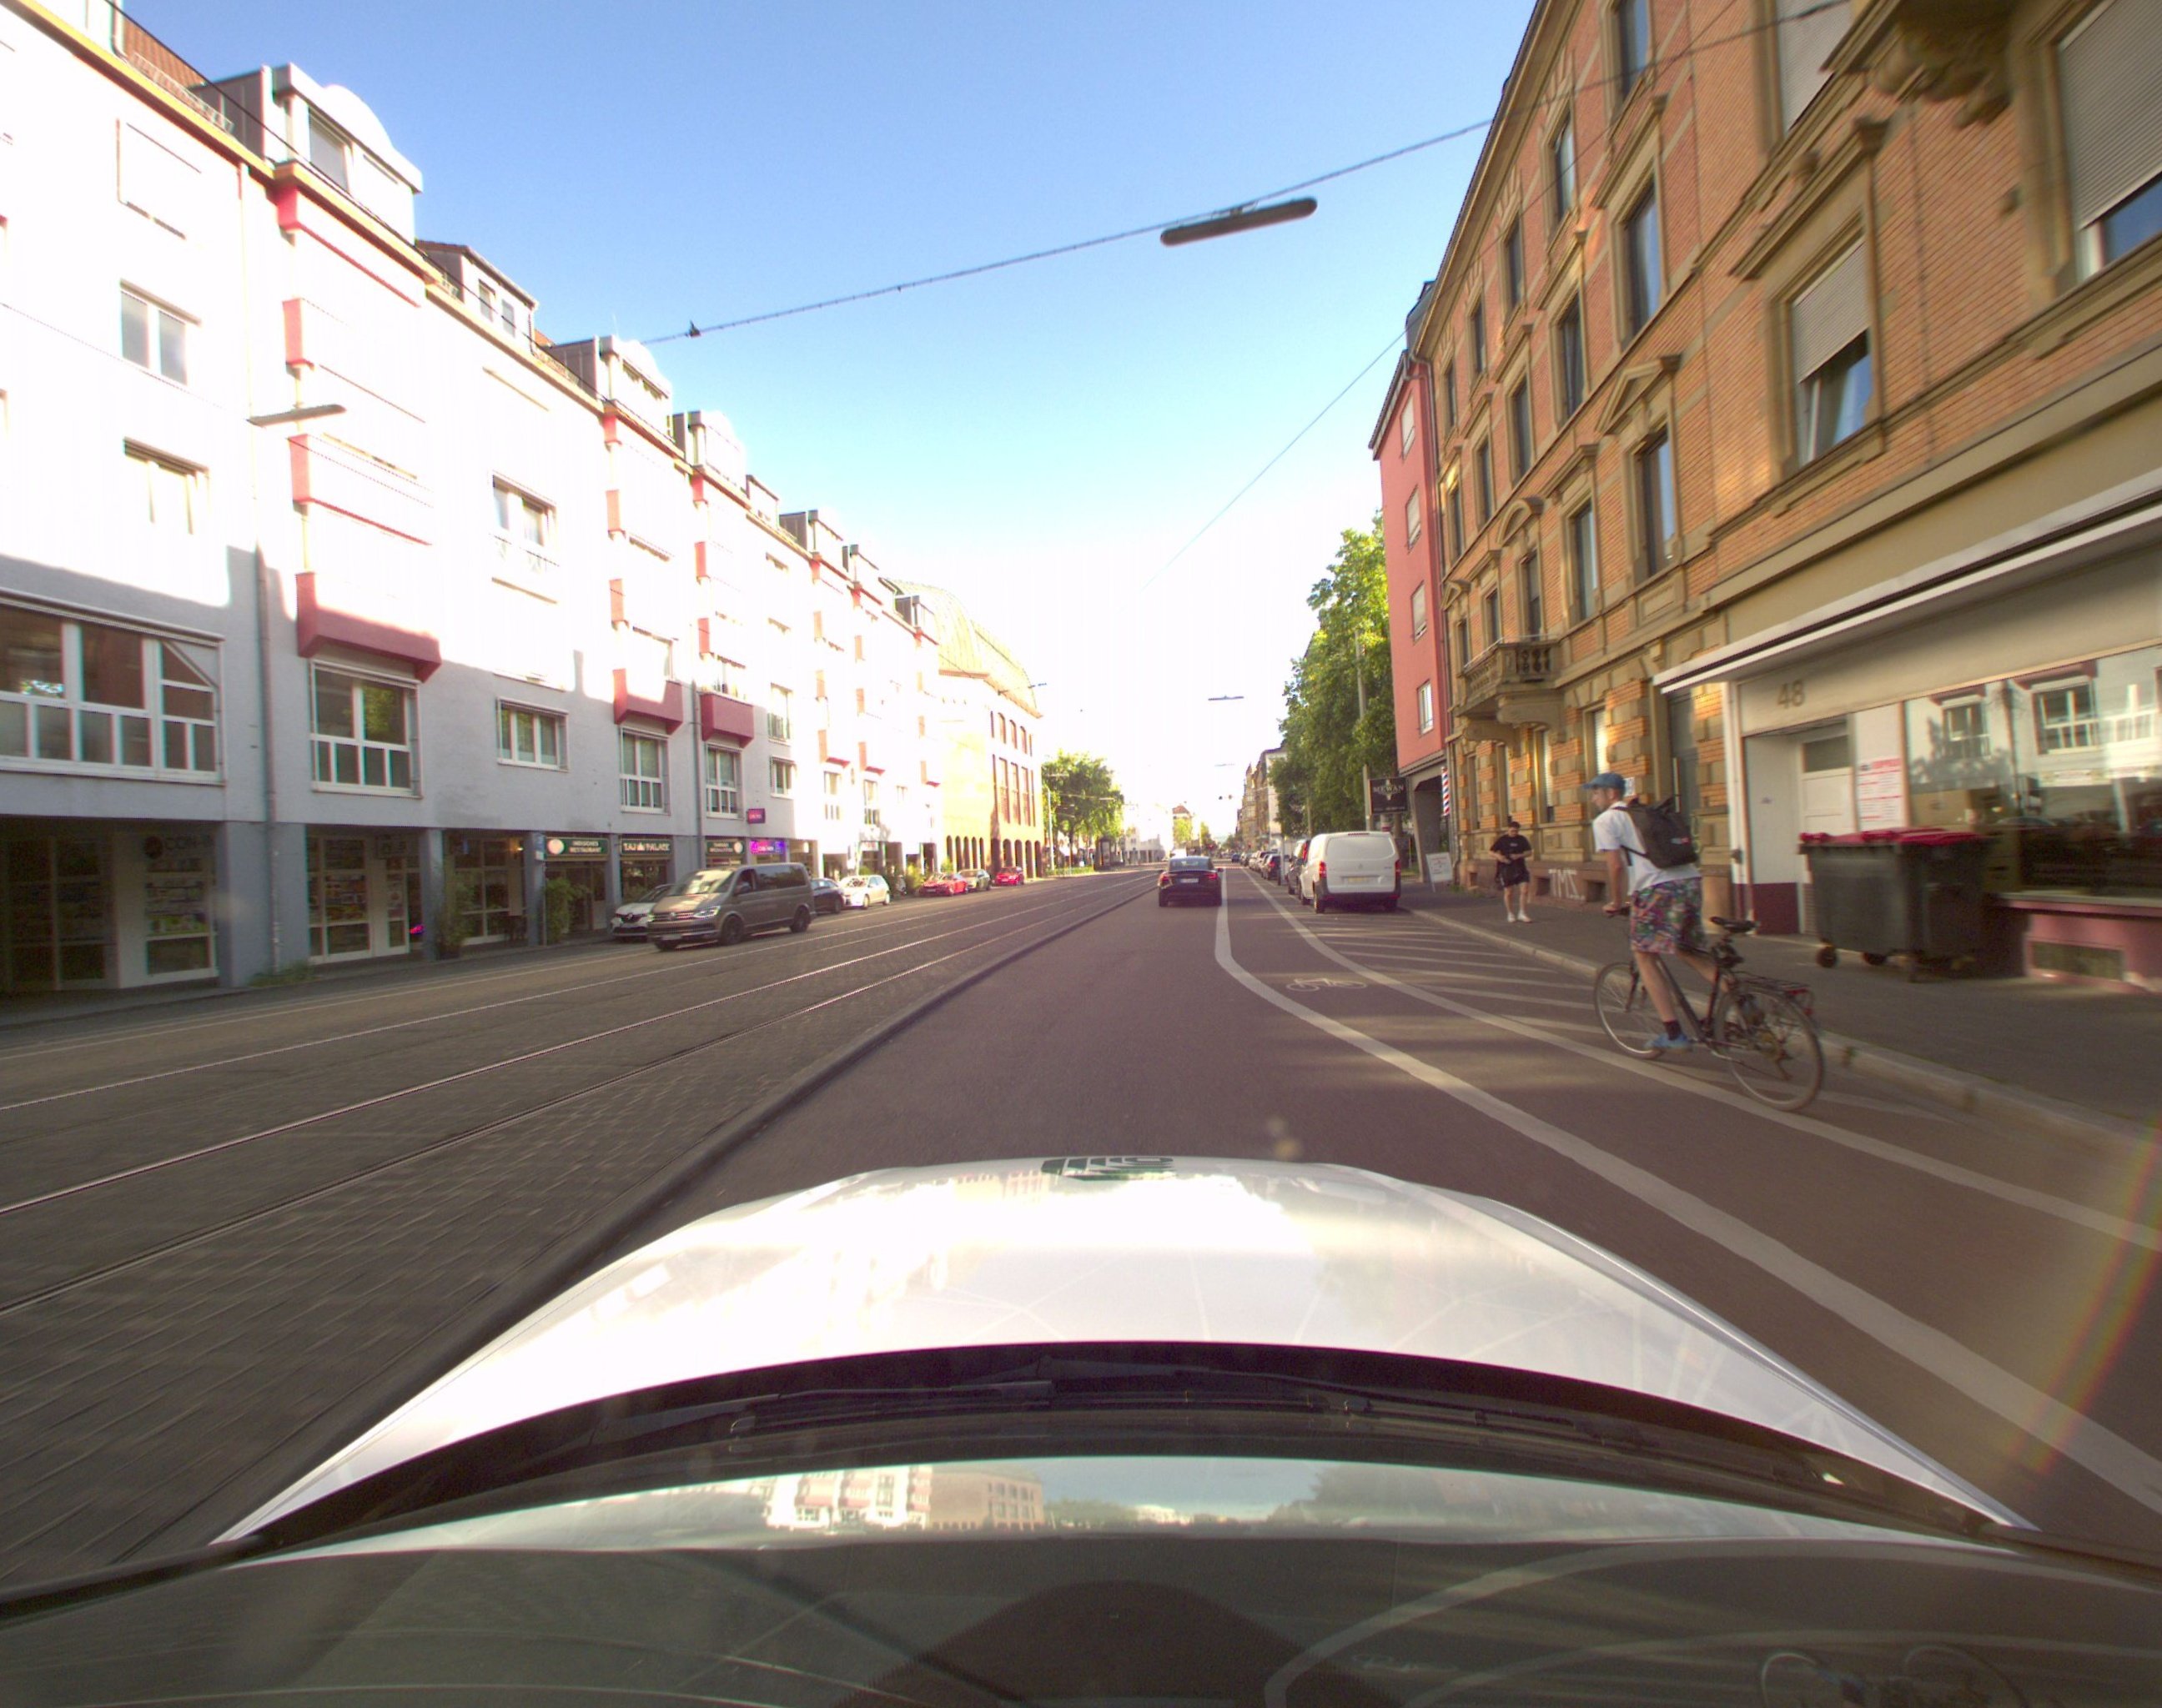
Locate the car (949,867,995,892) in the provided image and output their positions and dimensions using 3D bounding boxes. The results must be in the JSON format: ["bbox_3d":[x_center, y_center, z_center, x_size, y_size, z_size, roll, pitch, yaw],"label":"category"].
[{"bbox_3d":[-6.981,1.612,52.391,1.658,1.468,4.302,-1,0,10],"label":"car"}]

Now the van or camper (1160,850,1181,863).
[{"bbox_3d":[20.056,0.496,182.061,2.120,2.654,6.922,-4,-1,27],"label":"van or camper"}]

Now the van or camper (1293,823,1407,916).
[{"bbox_3d":[6.684,0.371,20.816,1.919,2.037,5.490,-1,-1,10],"label":"van or camper"}]

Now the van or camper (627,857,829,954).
[{"bbox_3d":[-8.566,1.158,20.364,1.980,1.940,4.851,-5,-1,13],"label":"van or camper"}]

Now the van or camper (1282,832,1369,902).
[{"bbox_3d":[7.878,0.391,26.731,1.959,2.045,5.344,-1,0,9],"label":"van or camper"}]

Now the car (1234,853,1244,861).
[{"bbox_3d":[27.326,0.516,140.861,1.583,1.433,3.697,-3,-1,11],"label":"car"}]

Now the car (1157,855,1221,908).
[{"bbox_3d":[3.286,0.755,24.393,1.709,1.405,3.719,-2,0,9],"label":"car"}]

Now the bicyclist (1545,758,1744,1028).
[{"bbox_3d":[3.767,0.240,5.528,0.653,1.655,0.927,-2,-1,0],"label":"bicyclist"}]

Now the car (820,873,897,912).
[{"bbox_3d":[-9.833,1.658,36.349,1.742,1.474,4.216,-3,0,7],"label":"car"}]

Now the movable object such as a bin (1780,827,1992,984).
[{"bbox_3d":[7.584,0.453,7.763,0.771,1.347,1.302,-3,-1,9],"label":"movable object such as a bin"}]

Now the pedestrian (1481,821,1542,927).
[{"bbox_3d":[7.624,0.351,14.442,0.668,1.814,0.758,-3,-1,9],"label":"pedestrian"}]

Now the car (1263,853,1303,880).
[{"bbox_3d":[11.210,0.665,45.421,1.792,1.435,4.334,0,0,9],"label":"car"}]

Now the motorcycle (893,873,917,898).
[{"bbox_3d":[-9.723,1.718,44.981,0.516,1.297,2.087,-1,0,9],"label":"motorcycle"}]

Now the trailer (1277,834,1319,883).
[{"bbox_3d":[10.028,0.200,37.863,1.650,2.117,3.855,-1,0,12],"label":"trailer"}]

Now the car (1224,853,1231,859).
[{"bbox_3d":[40.305,0.606,223.772,1.834,1.592,4.012,-4,-1,11],"label":"car"}]

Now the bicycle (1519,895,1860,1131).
[{"bbox_3d":[3.800,0.898,5.381,0.645,1.139,2.095,-2,0,0],"label":"bicycle"}]

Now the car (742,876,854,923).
[{"bbox_3d":[-10.709,1.685,31.259,1.890,1.458,4.839,-3,0,9],"label":"car"}]

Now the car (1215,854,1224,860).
[{"bbox_3d":[36.487,0.866,214.594,1.983,1.525,4.007,-3,0,6],"label":"car"}]

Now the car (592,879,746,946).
[{"bbox_3d":[-12.146,1.666,24.375,1.907,1.614,4.379,-3,0,7],"label":"car"}]

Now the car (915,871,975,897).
[{"bbox_3d":[-7.857,1.713,47.493,1.948,1.325,4.833,-1,0,9],"label":"car"}]

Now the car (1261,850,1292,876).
[{"bbox_3d":[12.149,0.532,50.431,1.737,1.443,4.332,-2,0,15],"label":"car"}]

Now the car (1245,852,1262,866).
[{"bbox_3d":[19.276,0.523,90.946,1.700,1.457,4.563,-2,-1,10],"label":"car"}]

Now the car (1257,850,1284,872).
[{"bbox_3d":[14.471,0.516,62.318,1.703,1.590,4.075,-1,0,9],"label":"car"}]

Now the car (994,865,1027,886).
[{"bbox_3d":[-5.349,1.636,62.234,1.649,1.422,3.630,-1,0,10],"label":"car"}]
